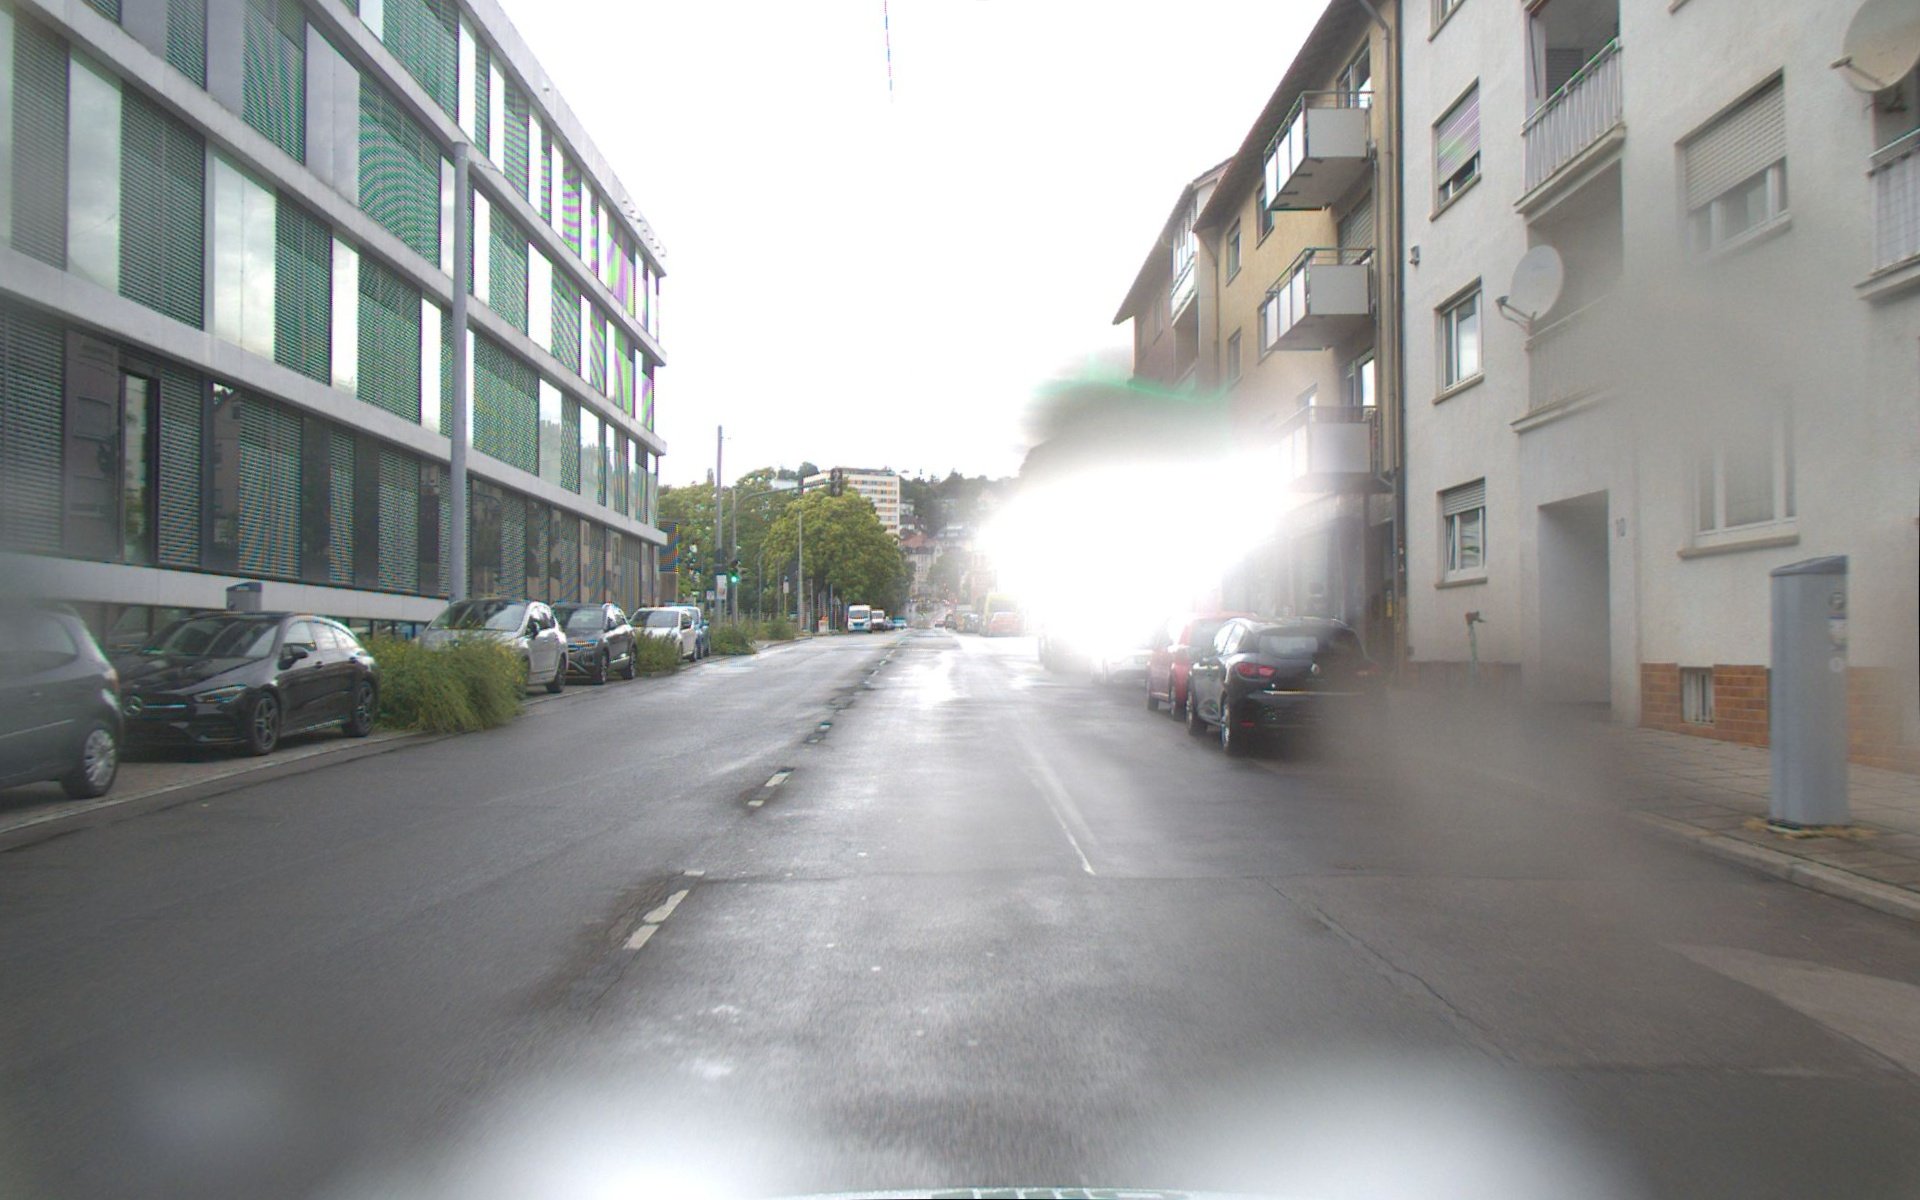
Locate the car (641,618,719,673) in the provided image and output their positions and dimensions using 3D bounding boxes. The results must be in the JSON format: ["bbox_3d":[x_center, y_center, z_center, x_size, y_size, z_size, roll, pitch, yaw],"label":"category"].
[{"bbox_3d":[-8.392,1.337,49.908,1.829,1.552,4.194,1,0,-3],"label":"car"}]

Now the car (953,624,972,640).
[{"bbox_3d":[0.282,3.267,169.180,1.828,1.632,4.190,1,-1,2],"label":"car"}]

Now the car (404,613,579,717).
[{"bbox_3d":[-7.699,1.021,27.598,1.735,1.561,4.315,1,0,-1],"label":"car"}]

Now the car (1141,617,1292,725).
[{"bbox_3d":[3.647,0.976,24.055,1.550,1.438,3.653,1,-1,-1],"label":"car"}]

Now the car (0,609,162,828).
[{"bbox_3d":[-7.547,0.813,11.584,1.825,1.515,4.345,1,-1,-1],"label":"car"}]

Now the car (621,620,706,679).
[{"bbox_3d":[-7.954,1.297,44.593,1.562,1.485,3.719,1,0,1],"label":"car"}]

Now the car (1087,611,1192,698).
[{"bbox_3d":[3.505,1.044,32.795,1.602,1.599,3.709,1,-1,-1],"label":"car"}]

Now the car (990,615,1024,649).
[{"bbox_3d":[2.603,1.762,91.050,1.828,1.801,4.190,1,-1,2],"label":"car"}]

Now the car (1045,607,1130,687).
[{"bbox_3d":[2.993,1.071,39.464,1.621,1.768,4.178,0,0,-1],"label":"car"}]

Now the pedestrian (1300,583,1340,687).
[{"bbox_3d":[6.674,0.655,30.681,0.626,1.903,0.538,1,-1,1],"label":"pedestrian"}]

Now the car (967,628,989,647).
[{"bbox_3d":[1.594,3.323,145.704,1.828,1.632,4.190,1,-1,2],"label":"car"}]

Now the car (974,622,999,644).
[{"bbox_3d":[2.021,2.540,126.366,1.828,1.632,4.190,1,-1,2],"label":"car"}]

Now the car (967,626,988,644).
[{"bbox_3d":[1.611,3.208,150.743,1.828,1.632,4.190,1,-1,2],"label":"car"}]

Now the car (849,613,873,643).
[{"bbox_3d":[-8.757,2.448,146.445,2.063,2.591,4.747,1,-1,-3],"label":"car"}]

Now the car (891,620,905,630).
[{"bbox_3d":[-9.699,3.882,257.601,1.996,1.617,4.354,1,-1,-5],"label":"car"}]

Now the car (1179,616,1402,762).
[{"bbox_3d":[3.646,0.937,18.890,1.671,1.480,3.983,1,-1,-1],"label":"car"}]

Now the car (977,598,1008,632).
[{"bbox_3d":[1.981,0.908,100.200,1.828,2.008,4.190,1,-1,2],"label":"car"}]

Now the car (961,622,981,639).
[{"bbox_3d":[1.049,2.986,160.995,1.828,1.632,4.190,1,-1,2],"label":"car"}]

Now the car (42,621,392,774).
[{"bbox_3d":[-7.749,0.950,17.776,1.800,1.421,4.391,1,-1,-1],"label":"car"}]

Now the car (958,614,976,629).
[{"bbox_3d":[0.741,2.324,180.068,1.828,1.632,4.190,1,-1,2],"label":"car"}]

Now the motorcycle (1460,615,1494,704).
[{"bbox_3d":[6.977,0.797,22.333,0.247,1.186,0.781,1,-1,2],"label":"motorcycle"}]

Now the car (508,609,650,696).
[{"bbox_3d":[-7.663,1.041,33.680,1.764,1.632,4.234,1,-1,2],"label":"car"}]
